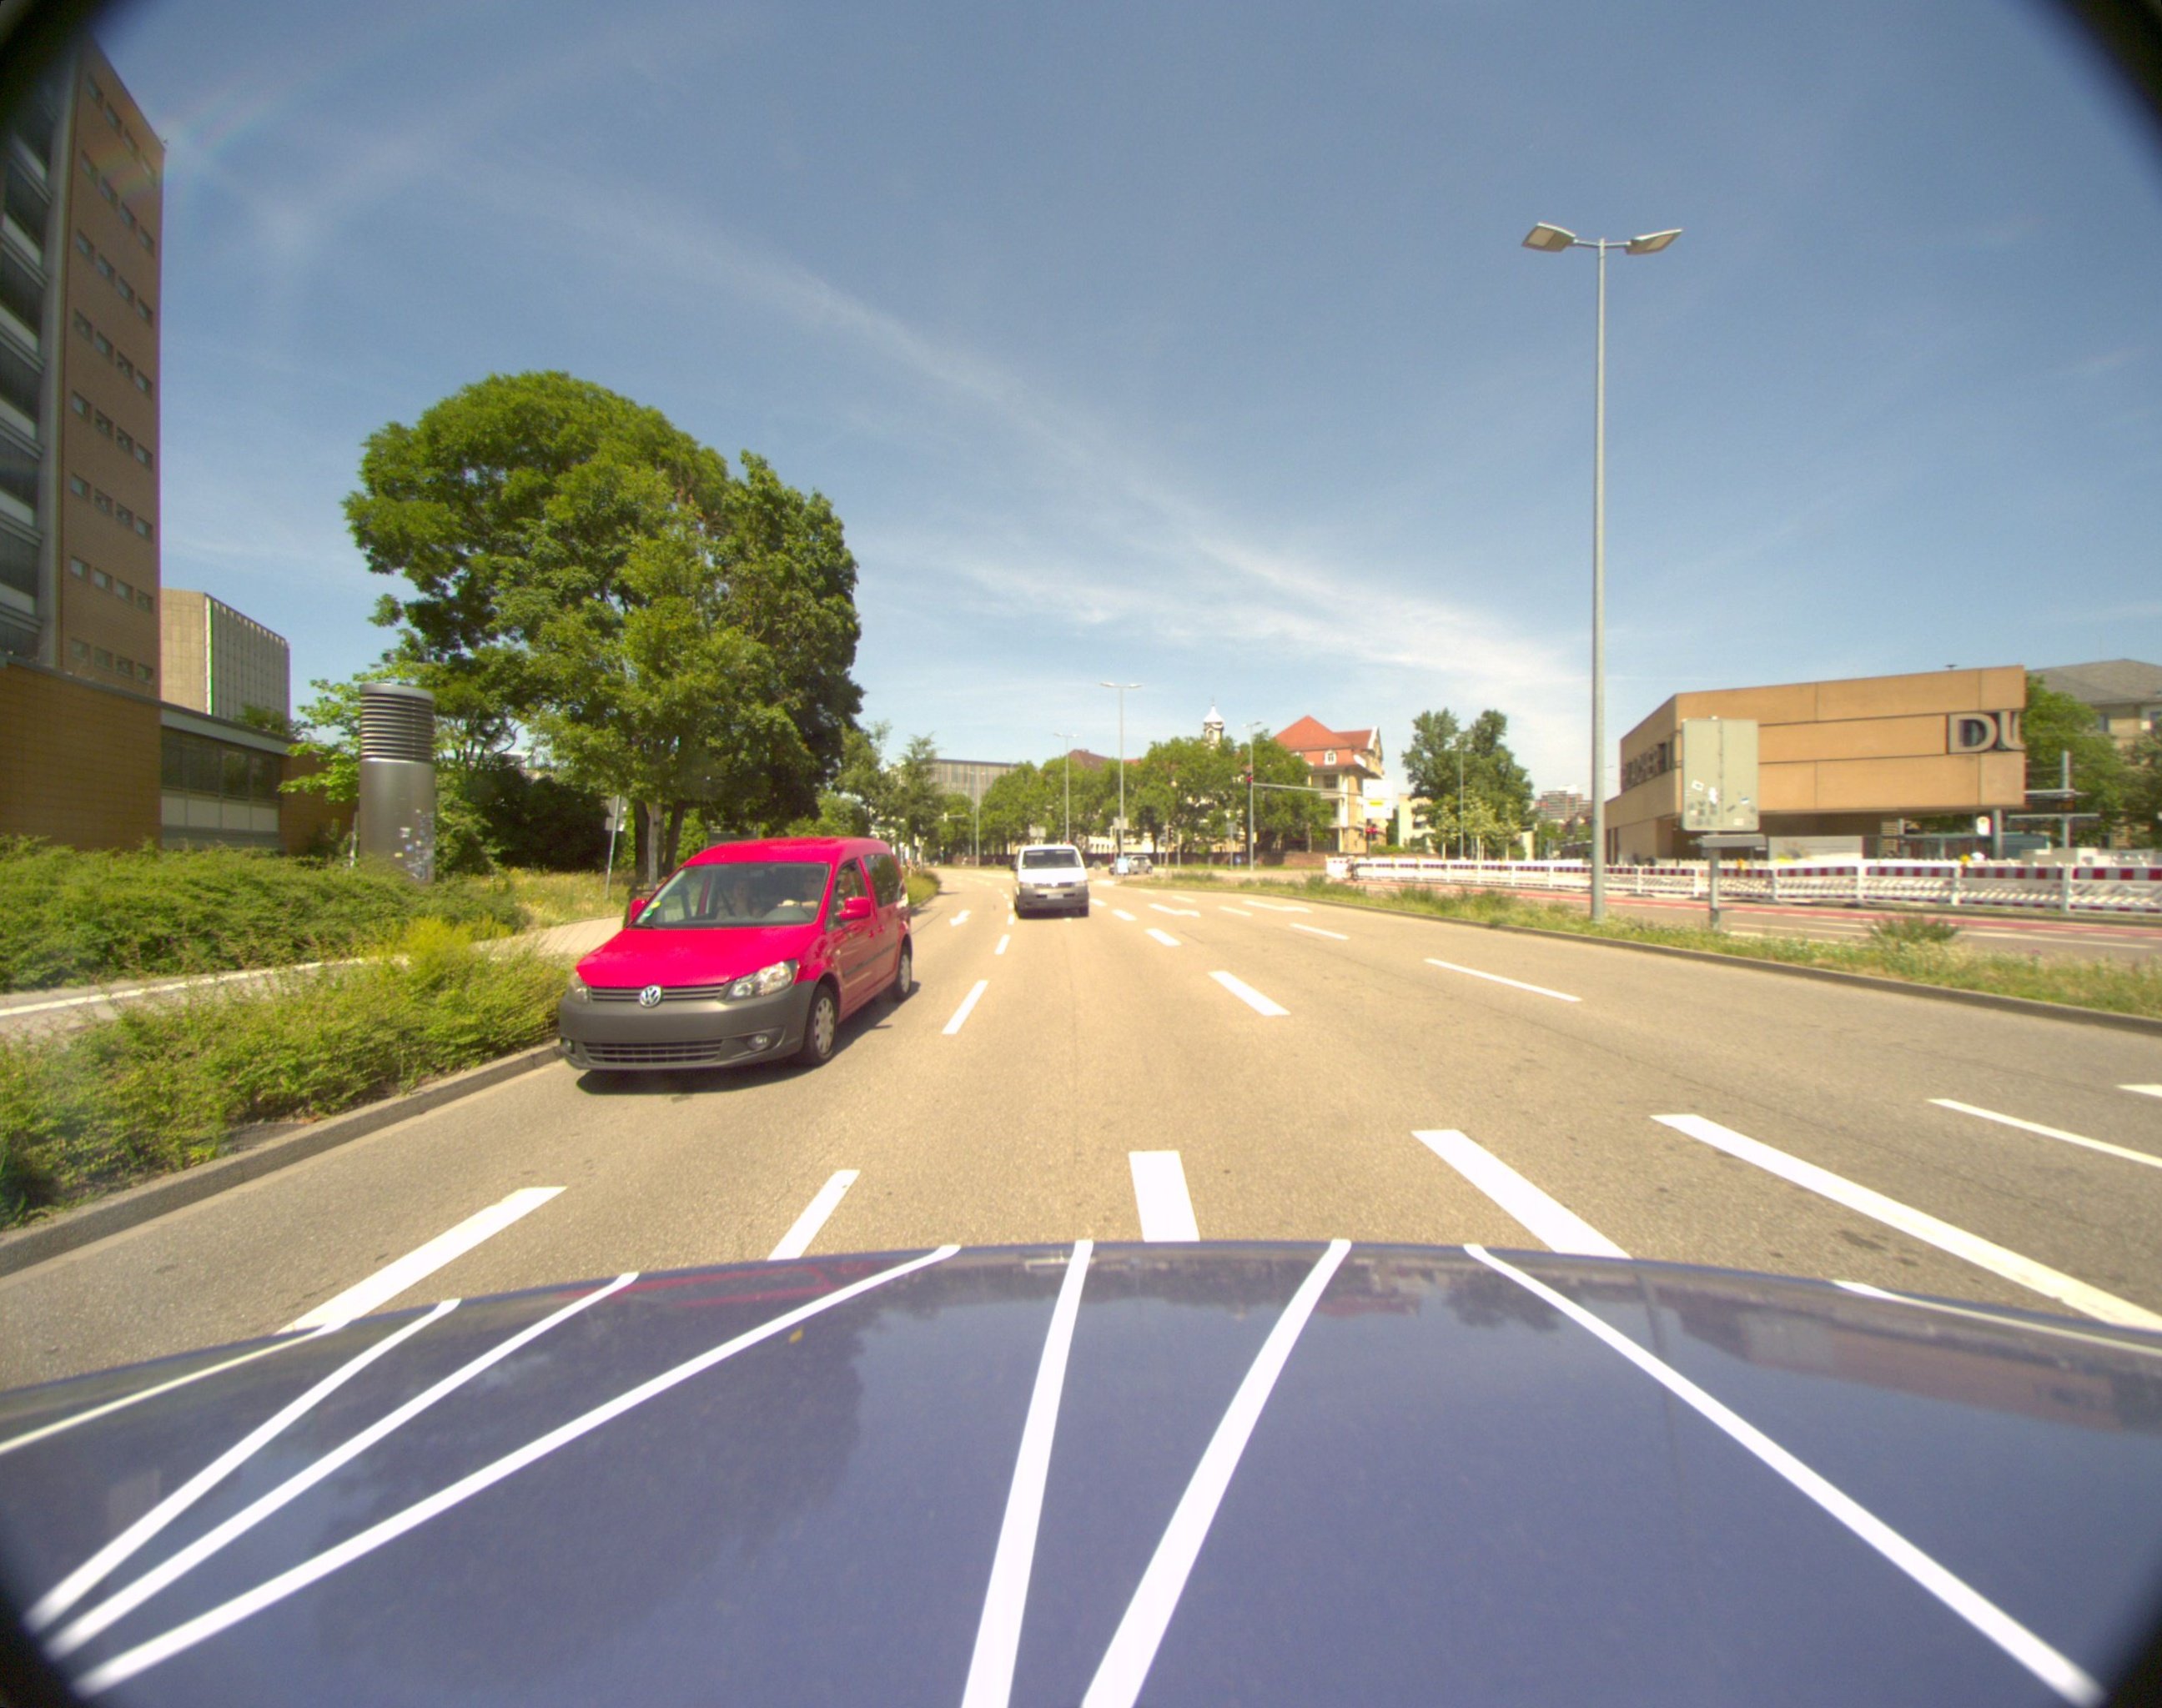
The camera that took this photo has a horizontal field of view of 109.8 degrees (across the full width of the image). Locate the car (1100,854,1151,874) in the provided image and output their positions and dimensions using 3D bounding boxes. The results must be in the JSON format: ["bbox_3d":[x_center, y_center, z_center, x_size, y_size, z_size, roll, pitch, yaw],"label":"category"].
[{"bbox_3d":[3.498,0.768,59.187,3.645,1.455,1.786,0,0,-34],"label":"car"}]

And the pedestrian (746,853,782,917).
[{"bbox_3d":[-8.884,0.858,21.325,0.728,1.787,0.614,0,0,1],"label":"pedestrian"}]

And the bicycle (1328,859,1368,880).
[{"bbox_3d":[14.209,0.819,40.534,0.879,1.066,2.229,-2,1,-14],"label":"bicycle"}]

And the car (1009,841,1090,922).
[{"bbox_3d":[-0.953,0.681,21.484,1.972,1.958,4.847,-2,0,-4],"label":"car"}]

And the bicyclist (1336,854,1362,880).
[{"bbox_3d":[14.320,0.666,40.640,0.587,1.348,1.438,-3,1,-14],"label":"bicyclist"}]

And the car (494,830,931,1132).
[{"bbox_3d":[-2.744,0.794,6.991,1.655,1.848,4.546,-1,0,2],"label":"car"}]
